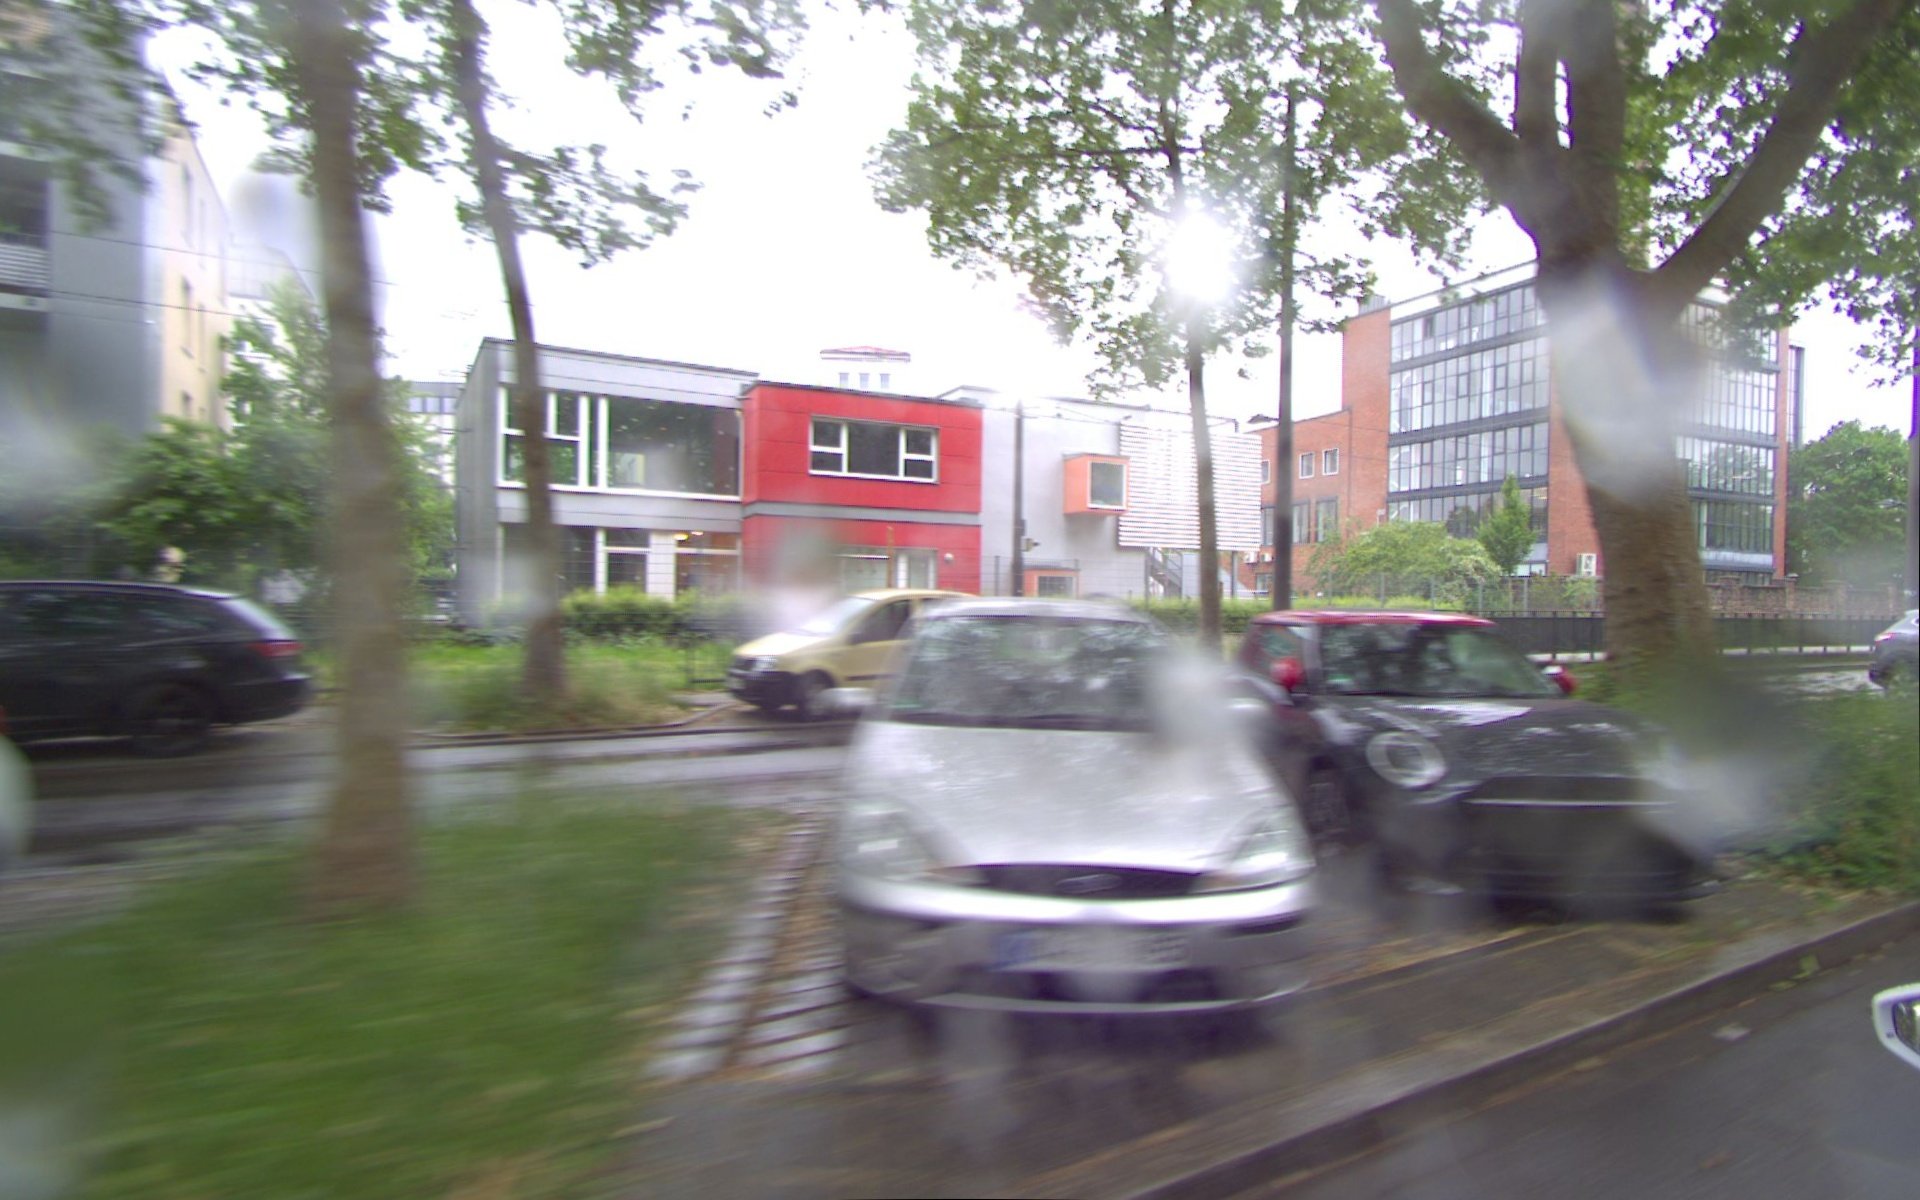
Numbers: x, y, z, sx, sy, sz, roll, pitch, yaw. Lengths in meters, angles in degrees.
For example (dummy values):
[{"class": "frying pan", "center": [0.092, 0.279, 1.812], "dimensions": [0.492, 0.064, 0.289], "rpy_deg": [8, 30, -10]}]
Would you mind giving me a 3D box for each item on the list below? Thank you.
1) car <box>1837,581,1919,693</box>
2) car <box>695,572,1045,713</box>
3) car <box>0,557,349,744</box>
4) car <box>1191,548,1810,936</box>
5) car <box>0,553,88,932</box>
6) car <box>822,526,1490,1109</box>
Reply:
[{"class": "car", "center": [14.980, 0.583, 13.712], "dimensions": [1.886, 1.618, 4.470], "rpy_deg": [2, 1, -4]}, {"class": "car", "center": [-1.126, 0.503, 12.796], "dimensions": [3.953, 1.528, 1.984], "rpy_deg": [2, 1, -30]}, {"class": "car", "center": [-7.766, 0.371, 8.676], "dimensions": [4.225, 1.439, 1.982], "rpy_deg": [1, 1, -33]}, {"class": "car", "center": [2.657, 0.593, 6.035], "dimensions": [1.688, 1.541, 3.818], "rpy_deg": [2, 0, 1]}, {"class": "car", "center": [-4.666, 0.534, 2.456], "dimensions": [1.688, 1.502, 3.787], "rpy_deg": [2, 0, 1]}, {"class": "car", "center": [0.529, 0.593, 4.948], "dimensions": [1.740, 1.502, 4.561], "rpy_deg": [2, 0, 0]}]
